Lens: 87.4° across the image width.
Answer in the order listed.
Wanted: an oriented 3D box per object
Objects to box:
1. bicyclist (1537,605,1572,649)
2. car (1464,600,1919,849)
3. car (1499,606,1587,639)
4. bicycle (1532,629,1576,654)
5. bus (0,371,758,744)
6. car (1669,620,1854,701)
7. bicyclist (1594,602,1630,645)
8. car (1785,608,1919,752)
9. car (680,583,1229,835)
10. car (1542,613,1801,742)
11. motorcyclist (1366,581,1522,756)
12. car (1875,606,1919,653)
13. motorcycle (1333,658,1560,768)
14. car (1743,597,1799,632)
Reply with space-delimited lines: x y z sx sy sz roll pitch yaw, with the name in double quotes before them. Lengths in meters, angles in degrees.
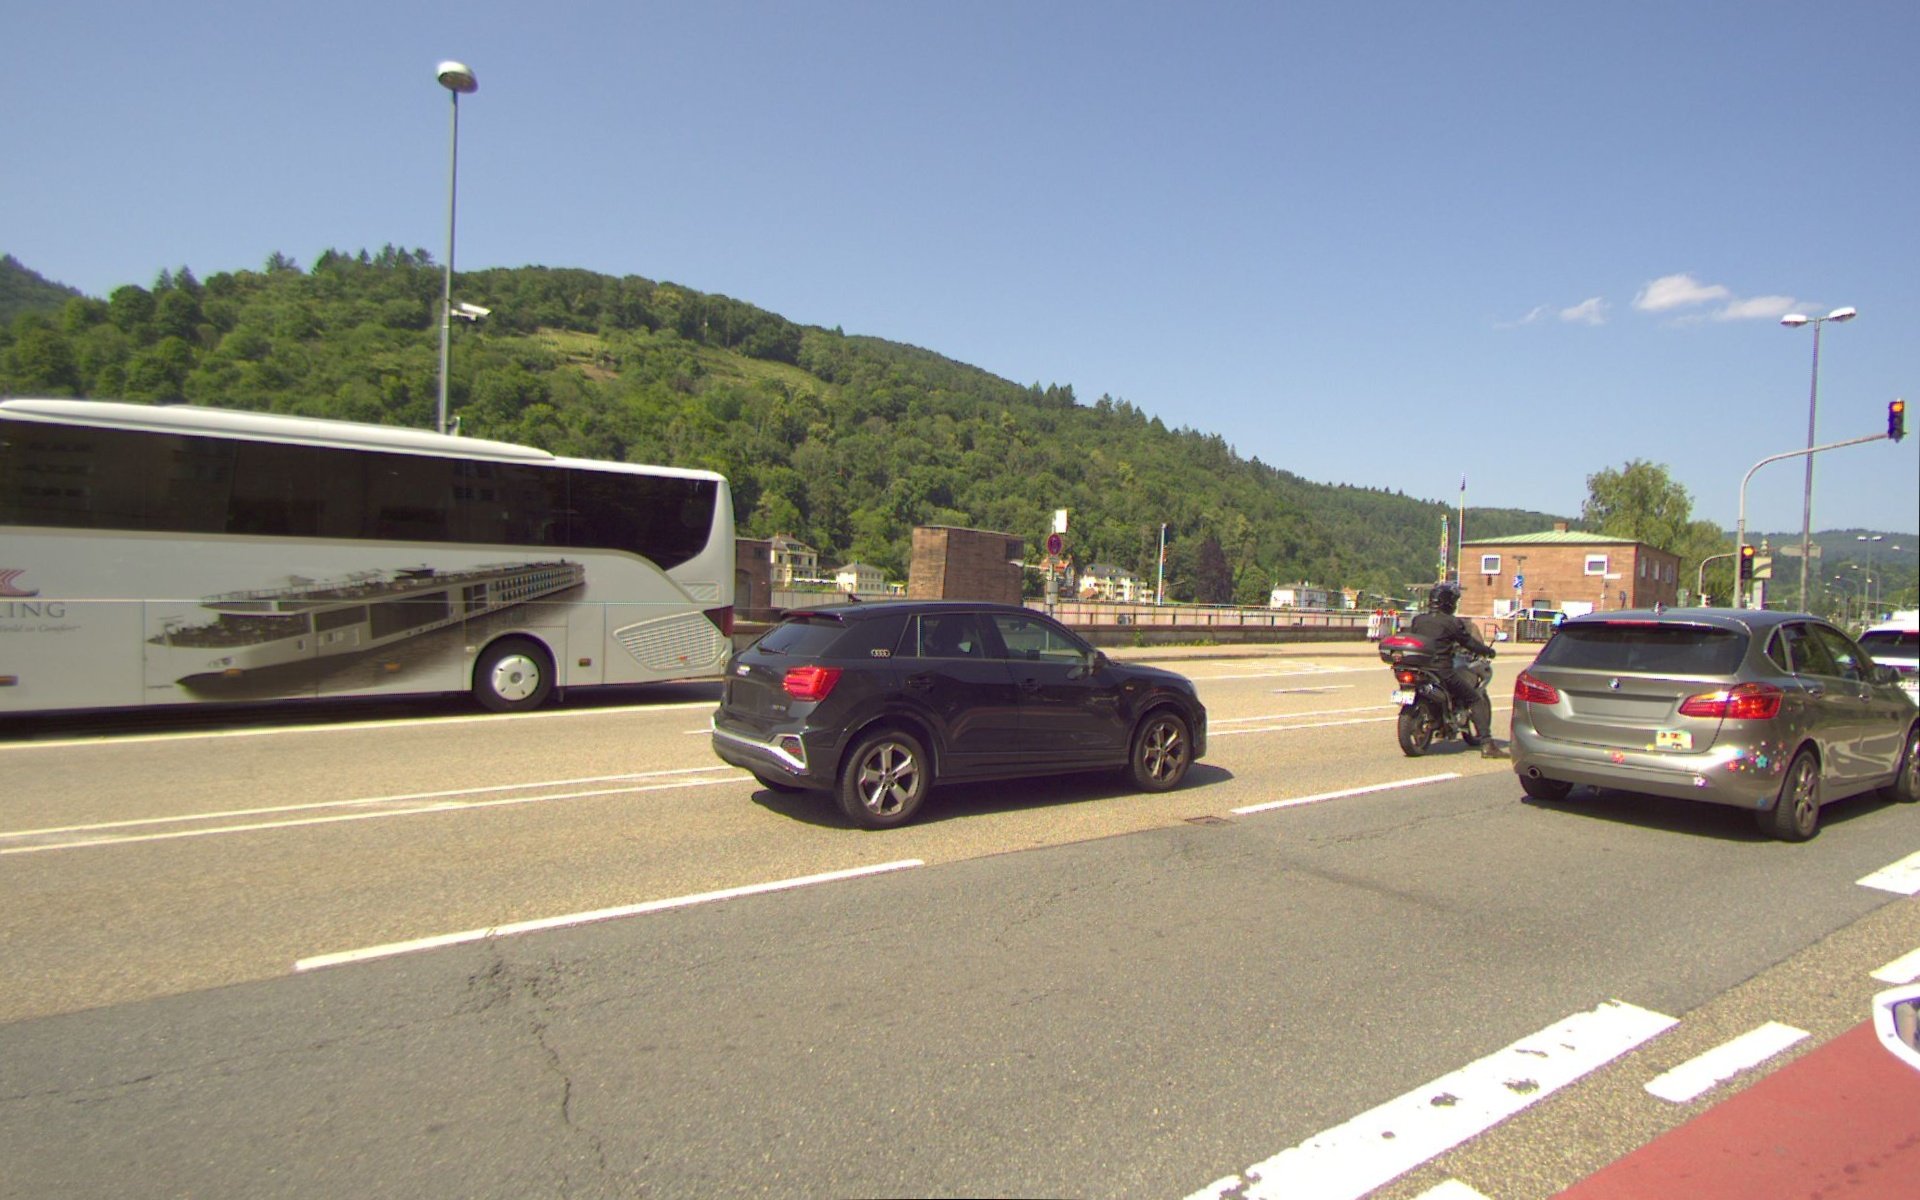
"bicyclist" 28.283 1.260 47.780 1.111 2.040 1.201 0 -1 -43
"car" 6.206 0.809 8.222 4.261 1.541 1.877 1 0 -34
"car" 37.596 1.440 64.922 4.525 2.040 2.001 0 0 14
"bicycle" 28.229 1.942 47.734 2.580 1.105 1.201 1 -1 -44
"bus" -9.236 -0.503 12.791 13.128 3.852 2.933 0 3 -39
"car" 15.716 1.106 19.645 3.961 1.377 1.854 0 0 -36
"bicyclist" 31.056 1.103 47.848 1.111 2.040 1.200 1 0 -43
"car" 12.212 0.877 12.360 4.809 1.554 1.981 0 -1 -35
"car" 0.075 0.706 8.073 4.109 1.534 1.857 1 -1 -35
"car" 10.160 0.975 14.275 3.961 1.583 1.854 0 0 -36
"motorcyclist" 5.090 0.678 10.585 1.144 1.707 1.069 0 0 -34
"car" 54.481 1.656 57.792 2.355 2.610 6.027 0 -1 39
"motorcycle" 5.201 1.136 10.660 2.578 0.932 1.031 0 0 -34
"car" 50.175 0.870 62.104 5.010 2.106 2.192 0 0 -45
